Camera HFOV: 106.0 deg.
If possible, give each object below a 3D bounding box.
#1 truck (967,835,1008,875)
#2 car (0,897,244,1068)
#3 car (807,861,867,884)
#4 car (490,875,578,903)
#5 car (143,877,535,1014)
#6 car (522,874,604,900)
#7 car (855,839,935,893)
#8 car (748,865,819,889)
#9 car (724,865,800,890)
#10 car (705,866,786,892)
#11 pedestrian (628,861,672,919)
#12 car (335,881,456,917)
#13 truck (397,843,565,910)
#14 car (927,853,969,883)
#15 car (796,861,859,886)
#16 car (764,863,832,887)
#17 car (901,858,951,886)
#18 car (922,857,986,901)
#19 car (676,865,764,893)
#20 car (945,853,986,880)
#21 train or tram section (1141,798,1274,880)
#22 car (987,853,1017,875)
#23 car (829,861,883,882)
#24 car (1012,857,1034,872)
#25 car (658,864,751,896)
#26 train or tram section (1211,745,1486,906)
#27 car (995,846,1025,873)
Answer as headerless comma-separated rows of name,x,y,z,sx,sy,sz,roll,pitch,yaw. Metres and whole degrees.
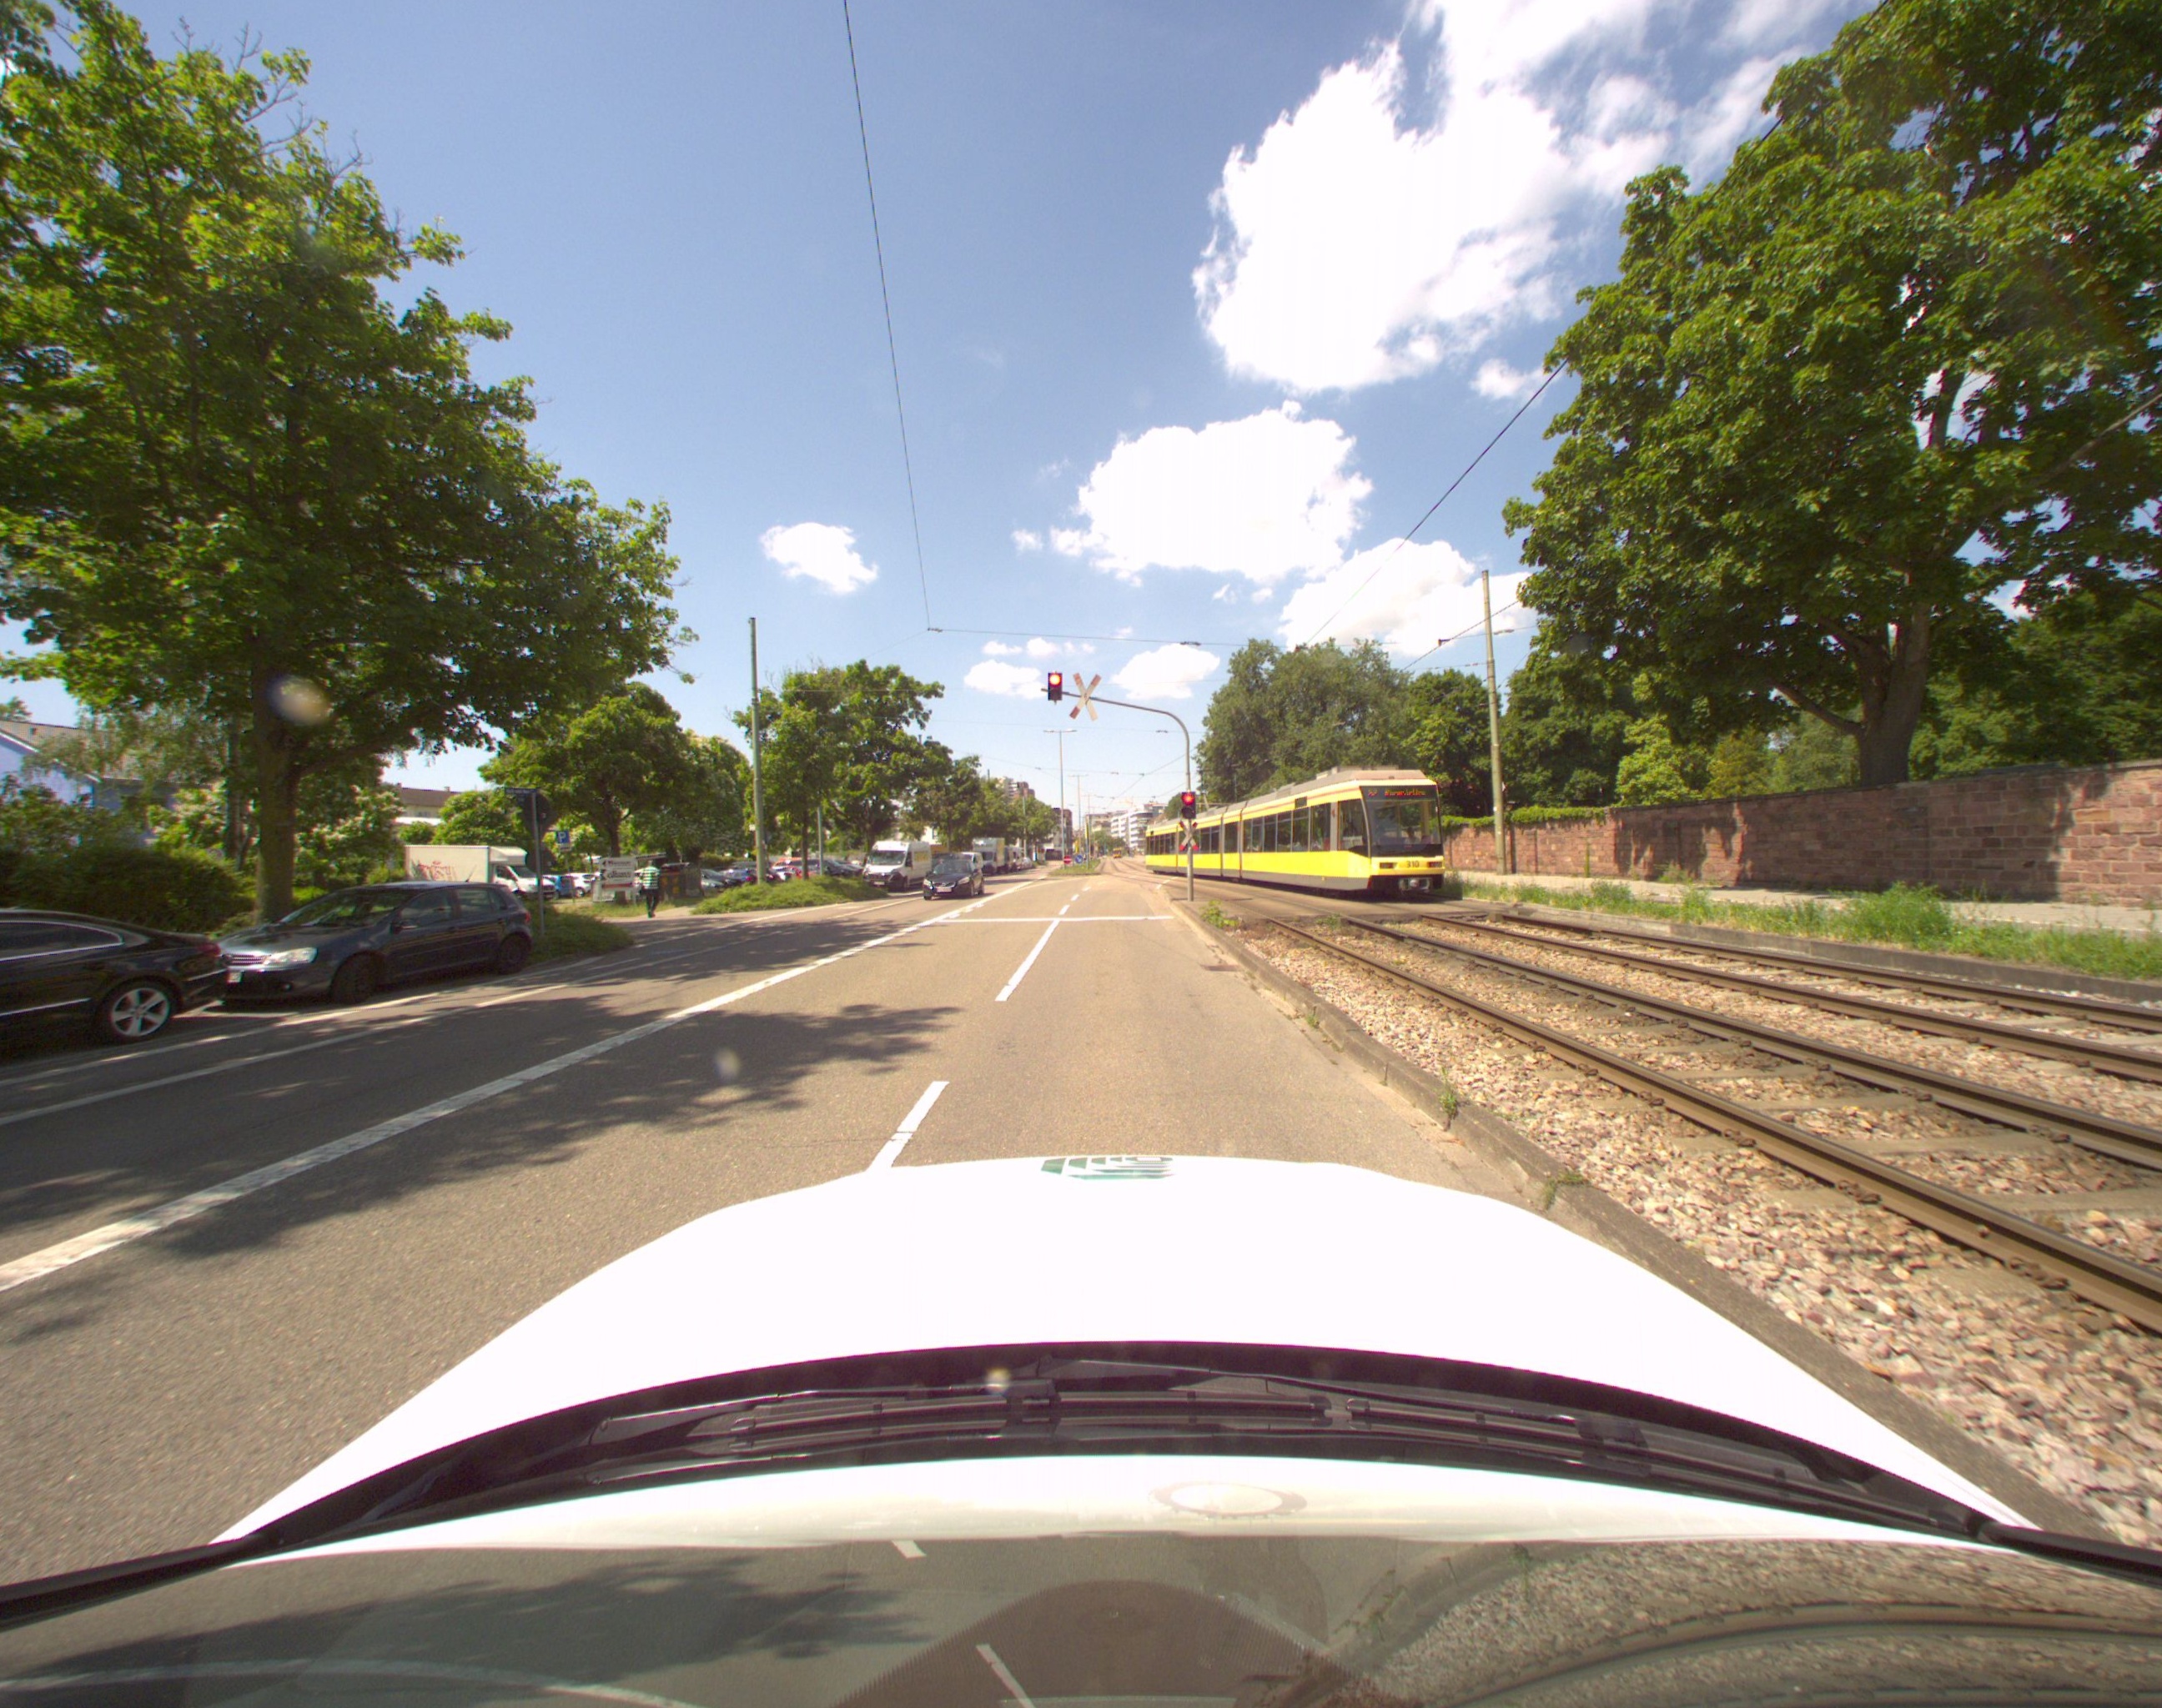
truck,-7.902,0.084,69.523,2.147,3.210,7.090,1,0,4
car,-10.350,1.187,6.834,1.769,1.373,4.697,0,0,0
car,-18.872,1.419,63.102,3.973,1.606,1.805,-2,0,0
car,-32.586,2.060,48.578,3.973,1.442,1.805,-2,0,0
car,-10.033,1.126,11.544,1.768,1.481,4.049,0,0,2
car,-32.575,2.079,51.305,3.973,1.442,1.805,-2,0,0
car,-9.312,0.544,41.371,2.147,2.487,6.200,-2,0,4
car,-19.483,1.497,53.466,3.973,1.339,1.805,-2,0,0
car,-19.908,1.471,50.912,3.973,1.339,1.805,-2,0,0
car,-19.843,1.463,48.271,3.973,1.339,1.805,-2,0,0
pedestrian,-14.186,1.167,26.823,0.971,1.823,0.794,-2,0,-1
car,-31.237,2.050,37.180,3.974,1.399,1.773,-2,0,0
truck,-32.122,1.163,43.771,7.164,3.228,2.332,-2,0,-1
car,-8.914,0.919,54.864,1.861,1.895,4.273,-2,0,2
car,-18.313,1.385,58.945,3.973,1.606,1.805,-2,0,0
car,-19.335,1.447,55.754,3.973,1.442,1.805,-2,0,1
car,-9.027,1.028,47.780,1.861,1.437,4.345,-2,0,2
car,-4.687,0.880,30.623,1.672,1.398,4.005,-4,0,0
car,-19.834,1.352,44.807,3.973,1.339,1.805,-2,0,0
car,-8.595,0.900,60.937,2.053,1.898,4.874,-2,0,2
train or tram section,6.493,-0.707,47.058,2.939,3.692,20.249,-1,0,-5
car,-7.411,0.919,77.129,2.053,1.977,4.874,-2,0,2
car,-18.927,1.457,68.715,3.973,1.606,1.805,-2,0,0
car,-6.992,1.259,98.149,2.053,1.582,4.874,-2,0,2
car,-19.541,1.346,42.380,3.973,1.442,1.805,-2,0,0
train or tram section,7.646,-0.704,27.923,2.935,3.692,18.378,-1,0,-1
car,-7.353,0.548,84.759,2.147,2.639,5.618,-1,0,4
